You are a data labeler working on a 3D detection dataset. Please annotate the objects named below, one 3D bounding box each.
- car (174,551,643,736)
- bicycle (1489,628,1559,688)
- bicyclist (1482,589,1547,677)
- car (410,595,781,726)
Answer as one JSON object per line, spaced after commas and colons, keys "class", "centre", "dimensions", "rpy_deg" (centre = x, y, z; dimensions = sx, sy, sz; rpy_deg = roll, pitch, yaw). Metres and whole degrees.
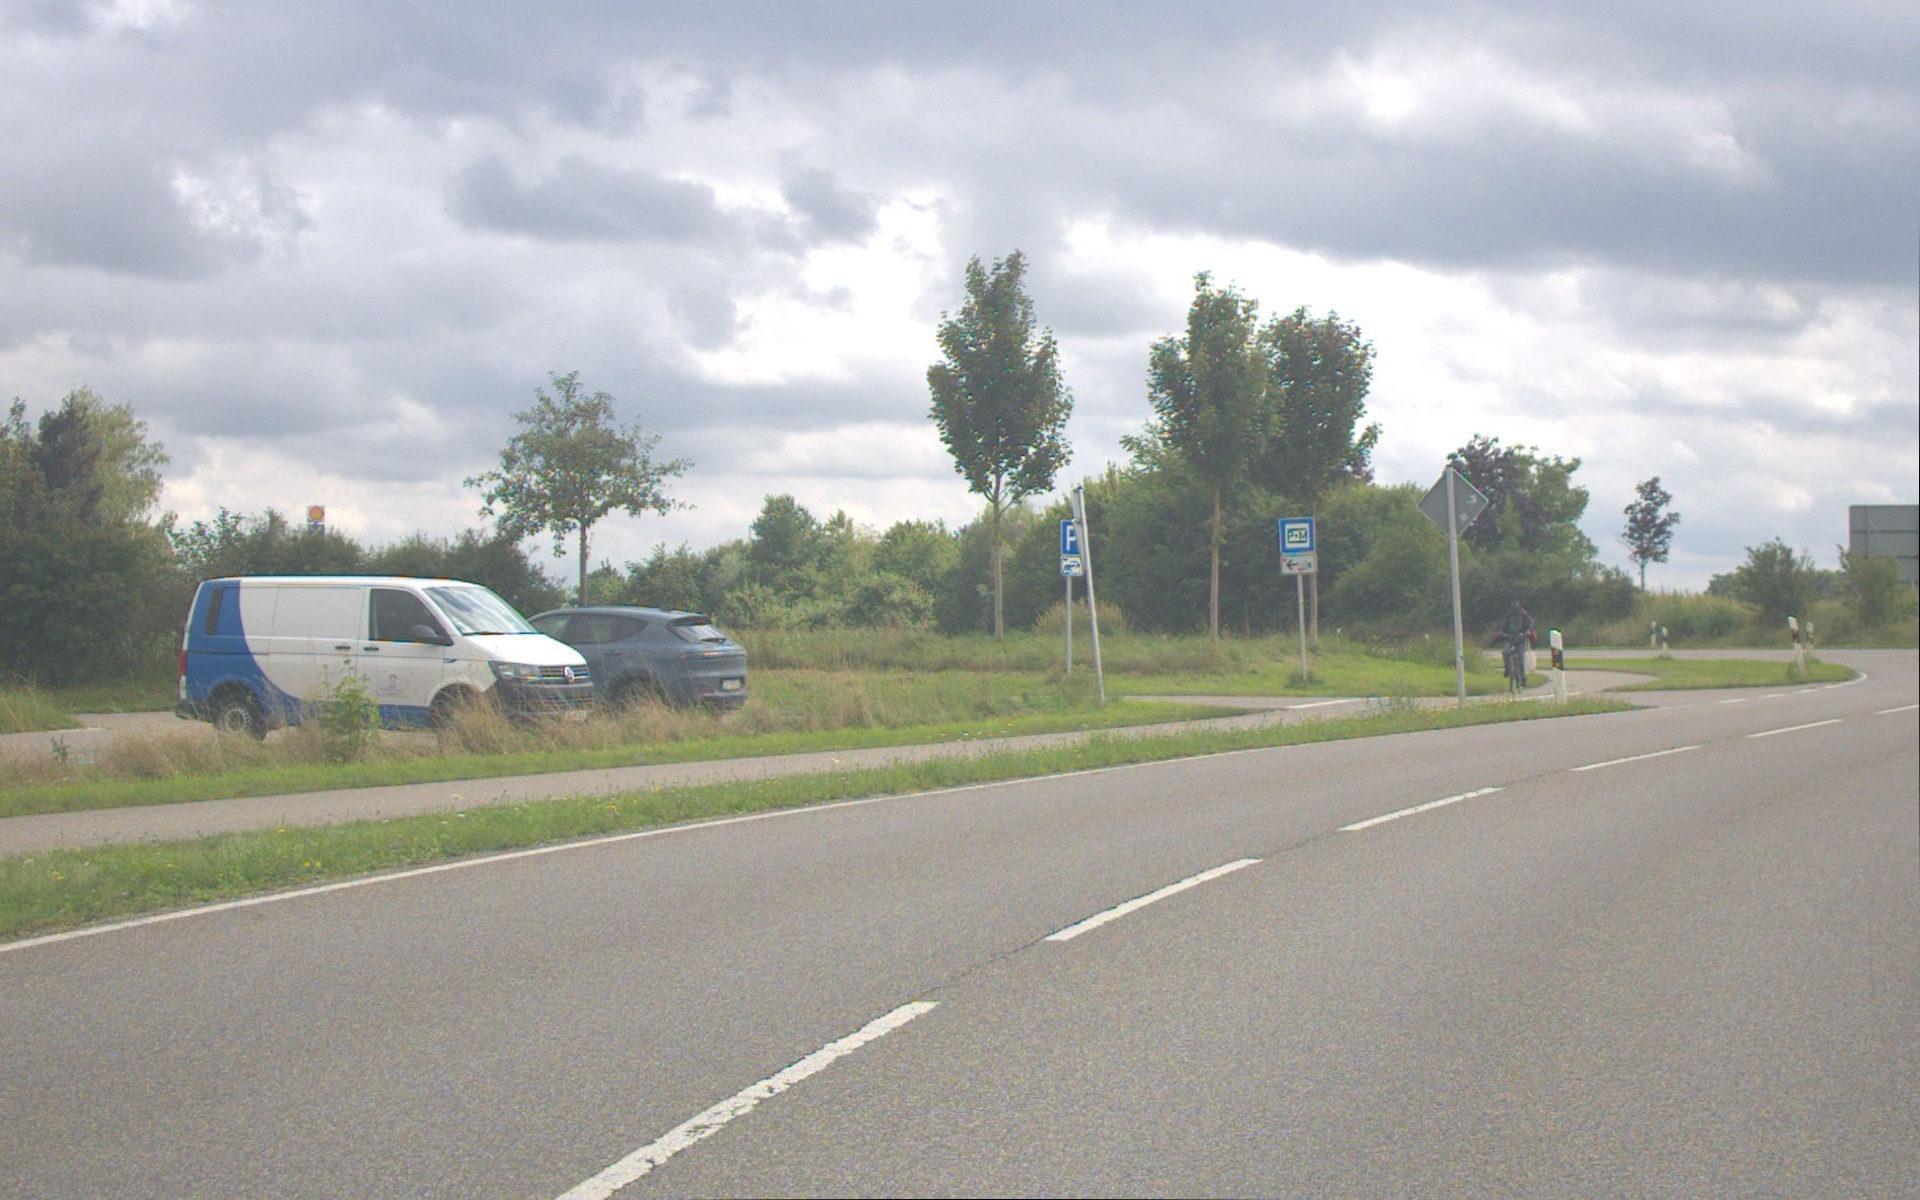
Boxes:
{"class": "car", "centre": [-6.274, 0.506, 39.101], "dimensions": [4.899, 2.007, 2.054], "rpy_deg": [-1, 0, 23]}
{"class": "bicycle", "centre": [10.169, 1.033, 61.937], "dimensions": [0.636, 1.028, 2.188], "rpy_deg": [-1, 0, 26]}
{"class": "bicyclist", "centre": [9.976, 0.584, 61.808], "dimensions": [0.832, 1.560, 1.054], "rpy_deg": [-1, 0, 28]}
{"class": "car", "centre": [-4.629, 0.769, 43.678], "dimensions": [4.253, 1.589, 1.997], "rpy_deg": [-1, 0, 24]}
